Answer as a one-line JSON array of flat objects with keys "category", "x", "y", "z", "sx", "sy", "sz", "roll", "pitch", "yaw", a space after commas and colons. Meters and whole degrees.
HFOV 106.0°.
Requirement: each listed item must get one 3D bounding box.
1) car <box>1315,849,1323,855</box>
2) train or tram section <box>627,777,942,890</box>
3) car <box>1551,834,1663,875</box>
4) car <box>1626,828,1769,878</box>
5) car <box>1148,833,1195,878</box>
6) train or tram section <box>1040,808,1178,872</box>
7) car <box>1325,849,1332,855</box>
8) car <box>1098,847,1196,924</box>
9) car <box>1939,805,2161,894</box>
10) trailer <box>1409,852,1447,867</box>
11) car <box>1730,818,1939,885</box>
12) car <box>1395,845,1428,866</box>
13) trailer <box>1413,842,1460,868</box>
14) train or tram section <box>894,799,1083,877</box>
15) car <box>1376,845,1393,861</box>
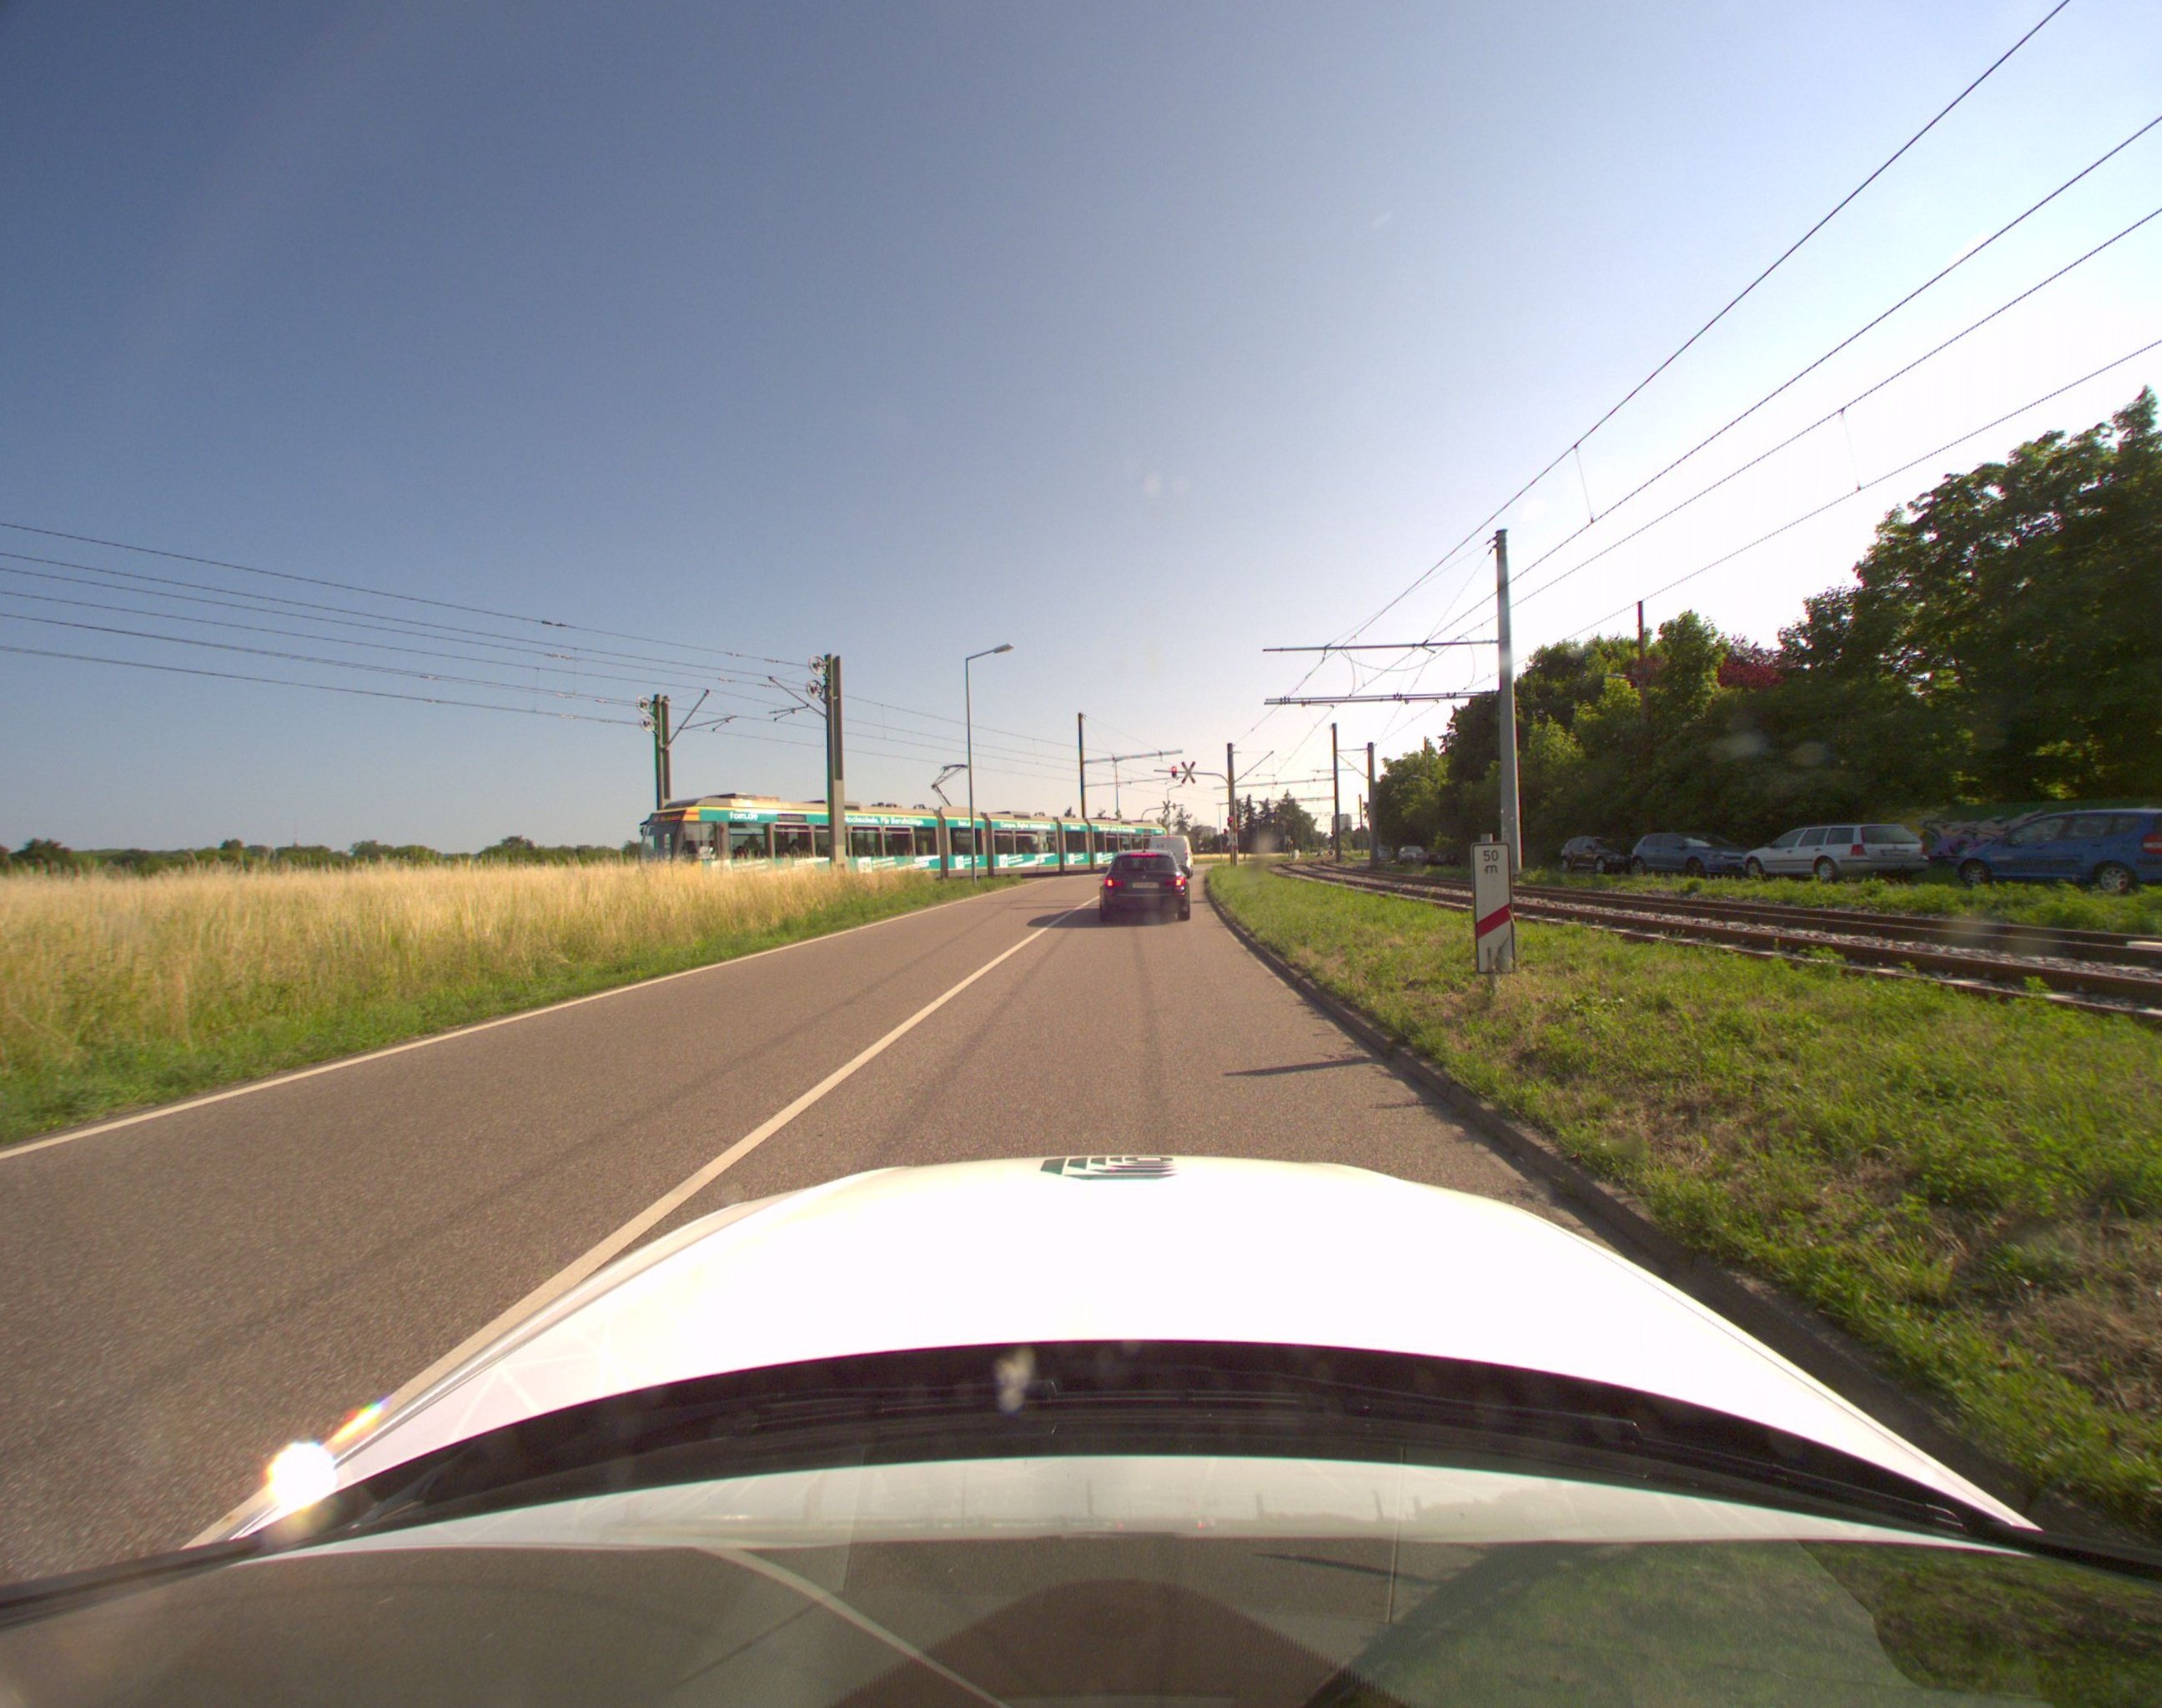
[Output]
[{"category": "car", "x": 61.917, "y": -0.605, "z": 211.811, "sx": 1.678, "sy": 1.439, "sz": 4.306, "roll": -1, "pitch": 0, "yaw": 22}, {"category": "train or tram section", "x": -10.468, "y": -0.640, "z": 31.183, "sx": 2.922, "sy": 3.484, "sz": 12.241, "roll": -1, "pitch": 0, "yaw": 31}, {"category": "car", "x": 19.728, "y": 0.025, "z": 30.801, "sx": 1.615, "sy": 1.410, "sz": 4.527, "roll": 0, "pitch": 0, "yaw": 5}, {"category": "car", "x": 19.276, "y": -0.033, "z": 25.703, "sx": 1.479, "sy": 1.401, "sz": 4.152, "roll": -2, "pitch": 0, "yaw": 2}, {"category": "car", "x": 4.380, "y": 0.077, "z": 38.864, "sx": 1.846, "sy": 1.988, "sz": 5.122, "roll": -1, "pitch": 0, "yaw": 10}, {"category": "train or tram section", "x": 2.309, "y": -0.653, "z": 53.435, "sx": 2.879, "sy": 3.569, "sz": 14.346, "roll": -1, "pitch": -2, "yaw": 29}, {"category": "car", "x": 73.594, "y": -0.616, "z": 242.218, "sx": 1.692, "sy": 1.665, "sz": 4.613, "roll": -1, "pitch": 0, "yaw": 21}, {"category": "car", "x": 1.478, "y": 0.598, "z": 18.140, "sx": 1.860, "sy": 1.452, "sz": 4.750, "roll": -1, "pitch": 0, "yaw": 5}, {"category": "car", "x": 18.465, "y": -0.082, "z": 14.981, "sx": 1.668, "sy": 1.430, "sz": 3.921, "roll": 0, "pitch": 0, "yaw": 9}, {"category": "trailer", "x": 23.678, "y": 0.358, "z": 55.685, "sx": 1.719, "sy": 0.939, "sz": 3.741, "roll": 1, "pitch": 0, "yaw": 13}, {"category": "car", "x": 19.088, "y": -0.067, "z": 20.948, "sx": 1.700, "sy": 1.465, "sz": 4.399, "roll": -2, "pitch": 0, "yaw": 7}, {"category": "car", "x": 24.478, "y": 0.102, "z": 60.407, "sx": 1.686, "sy": 1.456, "sz": 4.901, "roll": 1, "pitch": 1, "yaw": 16}, {"category": "trailer", "x": 22.540, "y": 0.056, "z": 51.781, "sx": 2.013, "sy": 1.596, "sz": 4.274, "roll": 1, "pitch": 0, "yaw": 13}, {"category": "train or tram section", "x": -4.233, "y": -0.632, "z": 41.823, "sx": 2.889, "sy": 3.454, "sz": 12.240, "roll": -1, "pitch": -1, "yaw": 30}, {"category": "car", "x": 39.917, "y": -0.111, "z": 107.049, "sx": 1.976, "sy": 2.004, "sz": 5.094, "roll": 1, "pitch": 0, "yaw": 22}]
